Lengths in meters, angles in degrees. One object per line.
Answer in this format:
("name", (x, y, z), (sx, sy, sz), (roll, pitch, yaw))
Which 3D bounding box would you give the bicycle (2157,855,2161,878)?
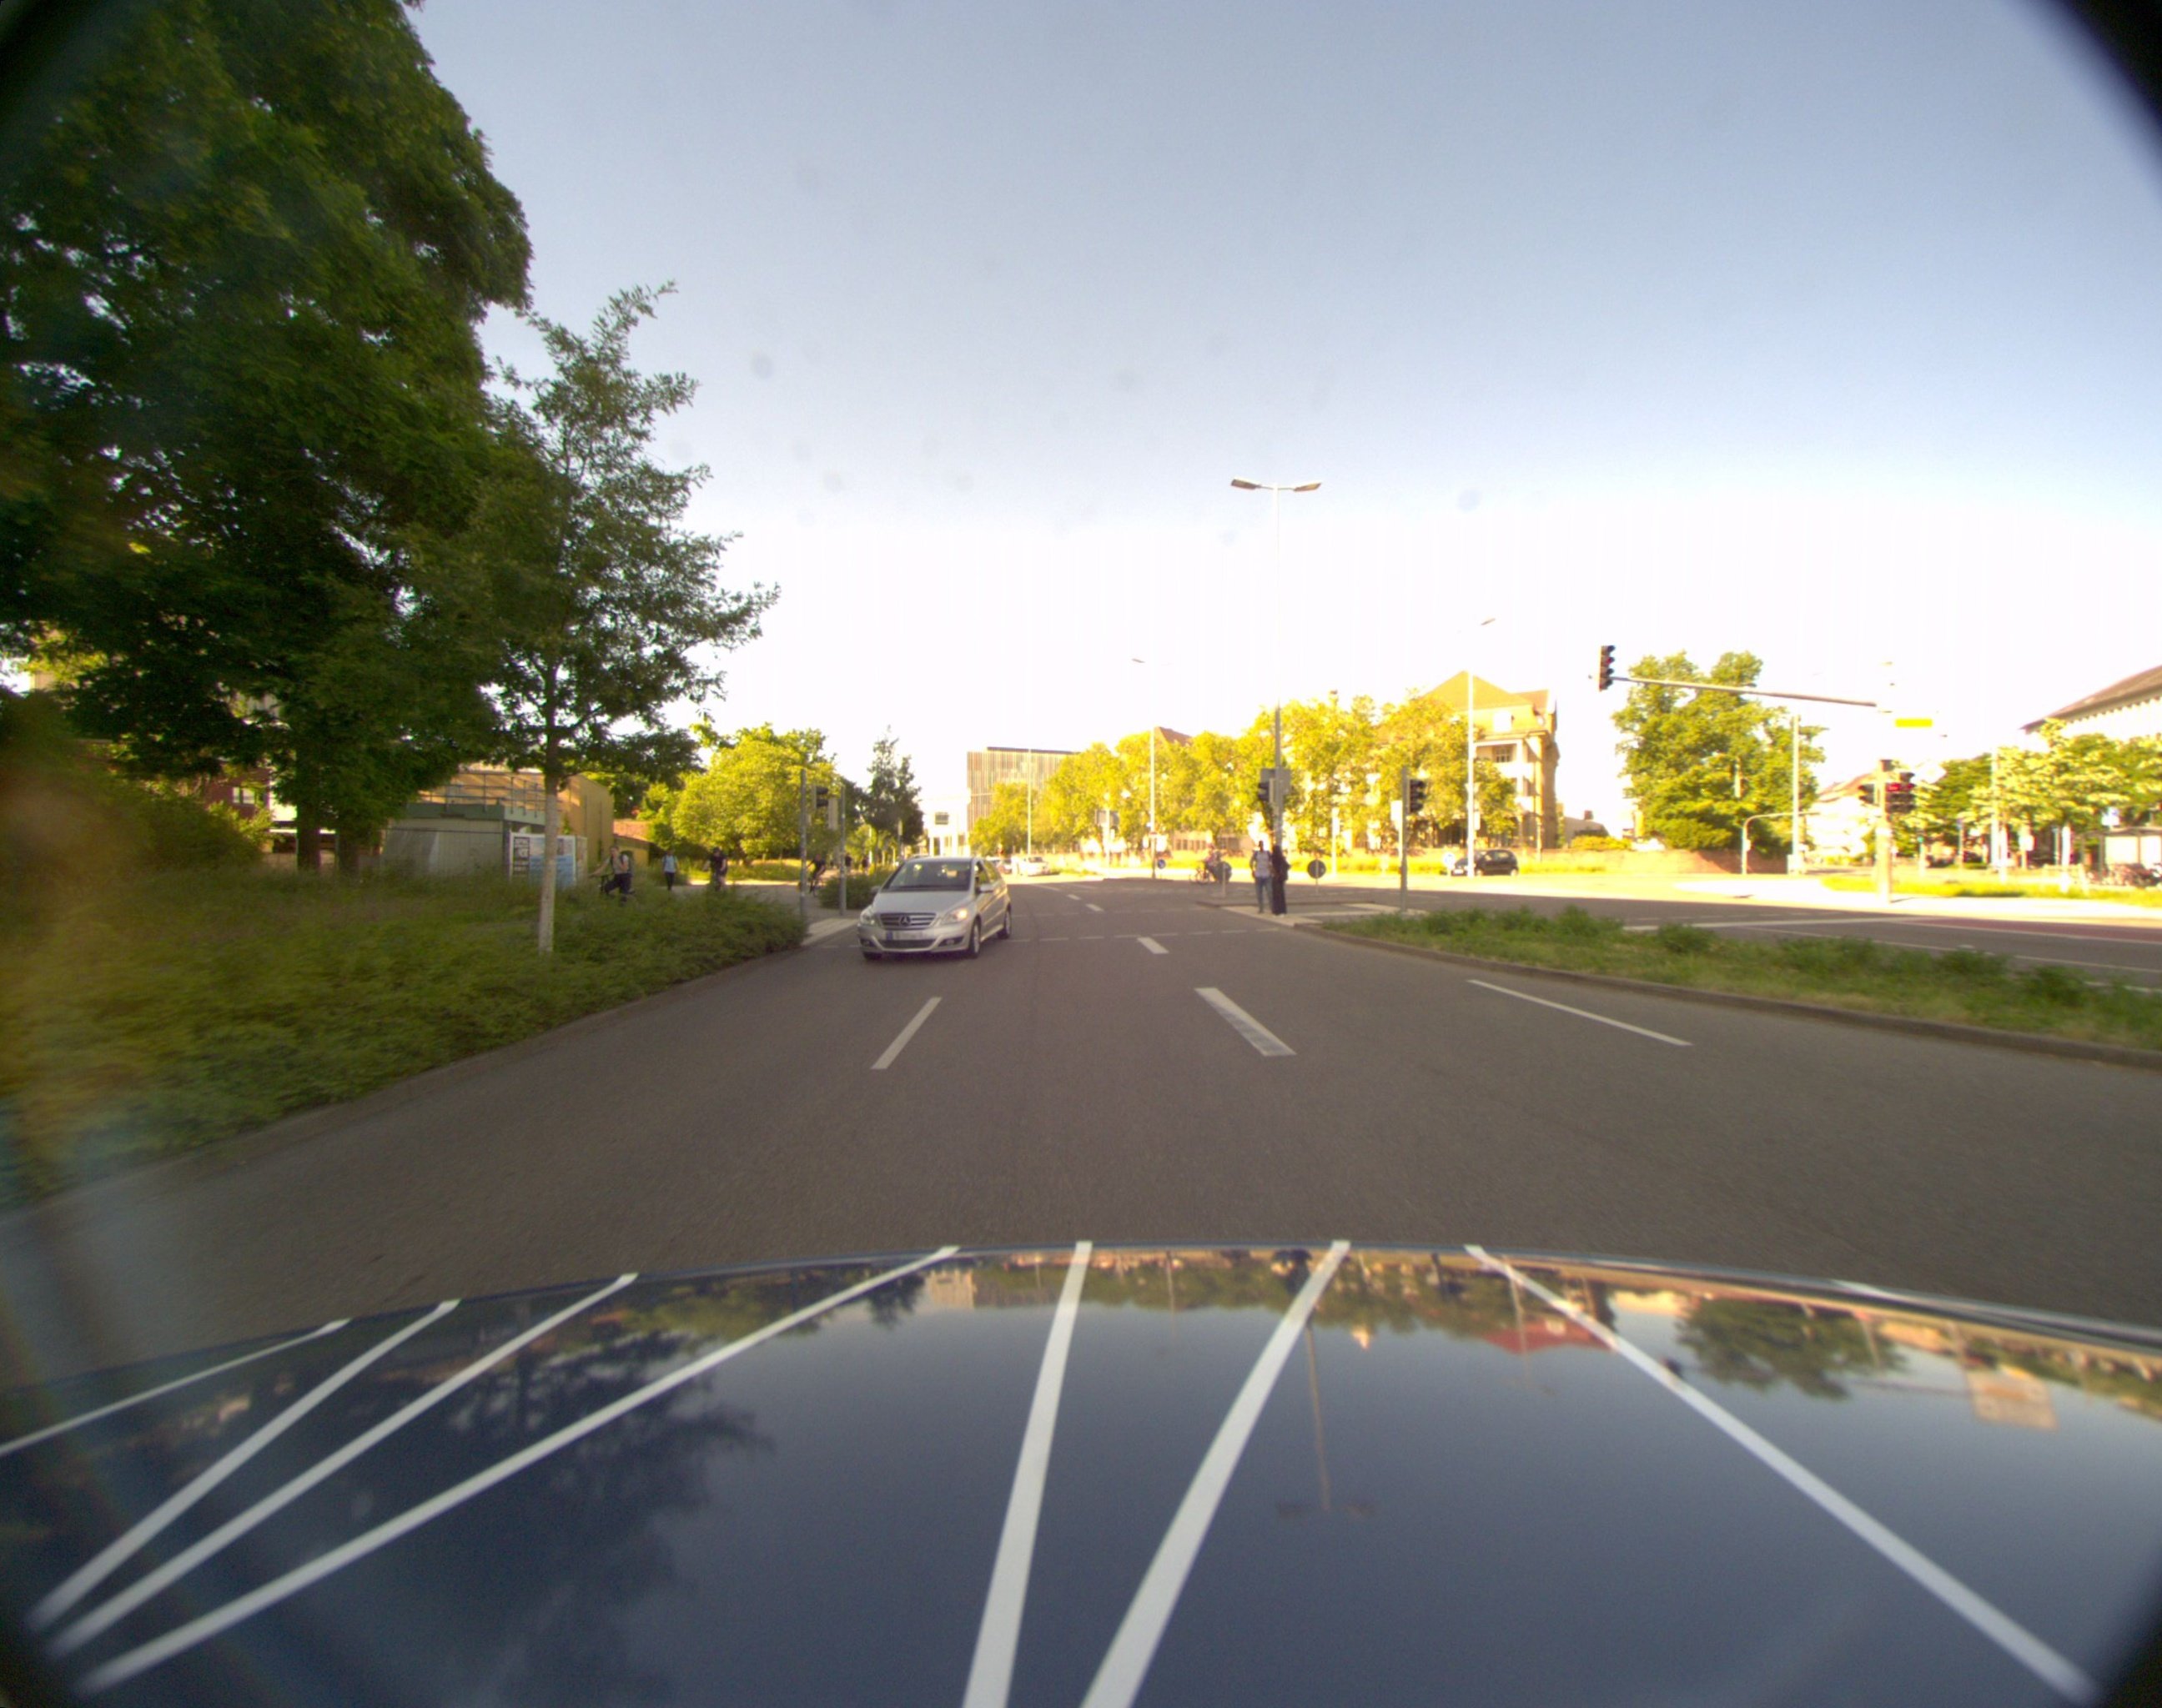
("bicycle", (49.400, 0.585, 34.114), (0.566, 1.032, 1.791), (1, 1, 31))

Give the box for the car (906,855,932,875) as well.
("car", (-14.949, 1.001, 70.032), (1.940, 1.788, 4.354), (-2, 0, -17))

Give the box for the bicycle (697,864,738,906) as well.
("bicycle", (-10.588, 0.880, 22.178), (0.643, 1.158, 1.868), (0, 0, -12))

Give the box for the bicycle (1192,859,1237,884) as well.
("bicycle", (6.378, 0.811, 36.259), (1.970, 1.158, 0.778), (0, -1, -22))

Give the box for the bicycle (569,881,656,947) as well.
("bicycle", (-9.328, 1.155, 15.215), (0.643, 1.158, 1.869), (1, 0, -3))

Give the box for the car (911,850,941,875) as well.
("car", (-12.929, 0.724, 63.185), (1.940, 1.941, 4.750), (-2, 0, -17))

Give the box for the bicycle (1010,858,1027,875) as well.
("bicycle", (-4.535, 0.926, 55.088), (0.749, 1.158, 1.867), (0, 1, -19))

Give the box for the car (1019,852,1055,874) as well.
("car", (-3.467, 0.667, 59.700), (1.791, 1.615, 4.309), (-2, 0, -17))

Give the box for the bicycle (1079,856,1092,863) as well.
("bicycle", (0.691, 0.828, 113.189), (0.797, 1.069, 2.081), (0, -2, -36))

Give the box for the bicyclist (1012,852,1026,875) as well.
("bicyclist", (-4.501, 0.687, 54.991), (0.747, 1.675, 0.976), (0, 2, -19))

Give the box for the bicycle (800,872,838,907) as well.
("bicycle", (-9.592, 1.288, 27.838), (0.642, 1.158, 1.870), (-2, 0, 2))

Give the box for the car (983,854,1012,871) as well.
("car", (-8.353, 0.821, 75.568), (1.985, 1.545, 4.717), (-2, 0, -17))

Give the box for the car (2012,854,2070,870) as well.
("car", (112.778, 0.941, 89.305), (3.792, 1.805, 2.003), (0, 0, 21))

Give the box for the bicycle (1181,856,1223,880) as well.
("bicycle", (5.945, 0.661, 37.393), (1.969, 1.158, 0.642), (0, -1, -18))

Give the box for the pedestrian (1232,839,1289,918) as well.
("pedestrian", (4.316, 0.578, 18.278), (1.097, 1.822, 0.754), (-2, 1, -29))

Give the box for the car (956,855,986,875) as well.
("car", (-8.772, 0.850, 60.424), (2.001, 1.460, 3.995), (-1, 0, -13))

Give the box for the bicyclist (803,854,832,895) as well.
("bicyclist", (-9.610, 0.738, 27.749), (0.643, 1.436, 0.953), (-1, 0, 2))

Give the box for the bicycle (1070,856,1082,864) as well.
("bicycle", (-0.734, 0.925, 115.043), (0.797, 1.069, 2.081), (0, -2, -36))

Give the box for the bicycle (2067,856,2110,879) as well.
("bicycle", (47.061, 0.609, 35.505), (0.566, 1.032, 1.791), (1, 1, 31))

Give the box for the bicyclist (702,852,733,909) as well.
("bicyclist", (-10.586, 0.765, 22.142), (0.643, 1.635, 0.776), (0, 0, -12))

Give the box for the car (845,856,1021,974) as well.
("car", (-2.317, 0.877, 13.234), (1.770, 1.585, 4.639), (0, 1, 5))

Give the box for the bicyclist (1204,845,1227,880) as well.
("bicyclist", (6.417, 0.388, 36.268), (0.777, 1.653, 0.784), (-1, 0, -21))

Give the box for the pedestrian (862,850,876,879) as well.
("pedestrian", (-13.276, 0.649, 47.597), (0.731, 1.805, 0.736), (-1, -2, -4))

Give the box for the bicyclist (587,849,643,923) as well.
("bicyclist", (-9.317, 0.631, 15.214), (0.643, 1.436, 0.776), (1, 0, -3))

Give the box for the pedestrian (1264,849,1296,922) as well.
("pedestrian", (4.468, 0.685, 17.088), (0.681, 1.603, 0.720), (-1, 1, 13))

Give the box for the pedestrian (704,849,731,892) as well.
("pedestrian", (-14.046, 0.636, 29.390), (0.734, 1.633, 0.679), (-2, -2, 38))

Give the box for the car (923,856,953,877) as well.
("car", (-10.735, 0.916, 56.829), (1.706, 1.433, 3.994), (-2, 0, -17))

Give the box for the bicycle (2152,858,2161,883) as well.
("bicycle", (43.853, 0.686, 30.340), (0.566, 1.032, 1.791), (1, 1, 31))

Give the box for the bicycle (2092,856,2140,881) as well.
("bicycle", (45.993, 0.622, 33.784), (0.566, 1.032, 1.791), (1, 1, 31))

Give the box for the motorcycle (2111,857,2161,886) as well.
("motorcycle", (41.812, 0.662, 30.106), (0.593, 1.112, 1.989), (0, 0, 35))

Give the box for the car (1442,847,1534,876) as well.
("car", (21.869, 0.402, 40.840), (4.302, 1.464, 1.997), (0, -2, -22))

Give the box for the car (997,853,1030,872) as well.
("car", (-6.095, 0.767, 68.400), (1.985, 1.545, 4.717), (-2, 0, -17))

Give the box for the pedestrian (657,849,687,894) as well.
("pedestrian", (-14.973, 0.652, 27.800), (0.734, 1.633, 0.679), (-2, -2, 31))

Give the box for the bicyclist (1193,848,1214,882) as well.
("bicyclist", (6.048, 0.550, 37.416), (0.777, 1.653, 0.642), (-1, 0, -19))

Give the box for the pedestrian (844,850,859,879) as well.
("pedestrian", (-14.307, 0.676, 47.462), (0.731, 1.771, 0.736), (-1, -2, -4))
